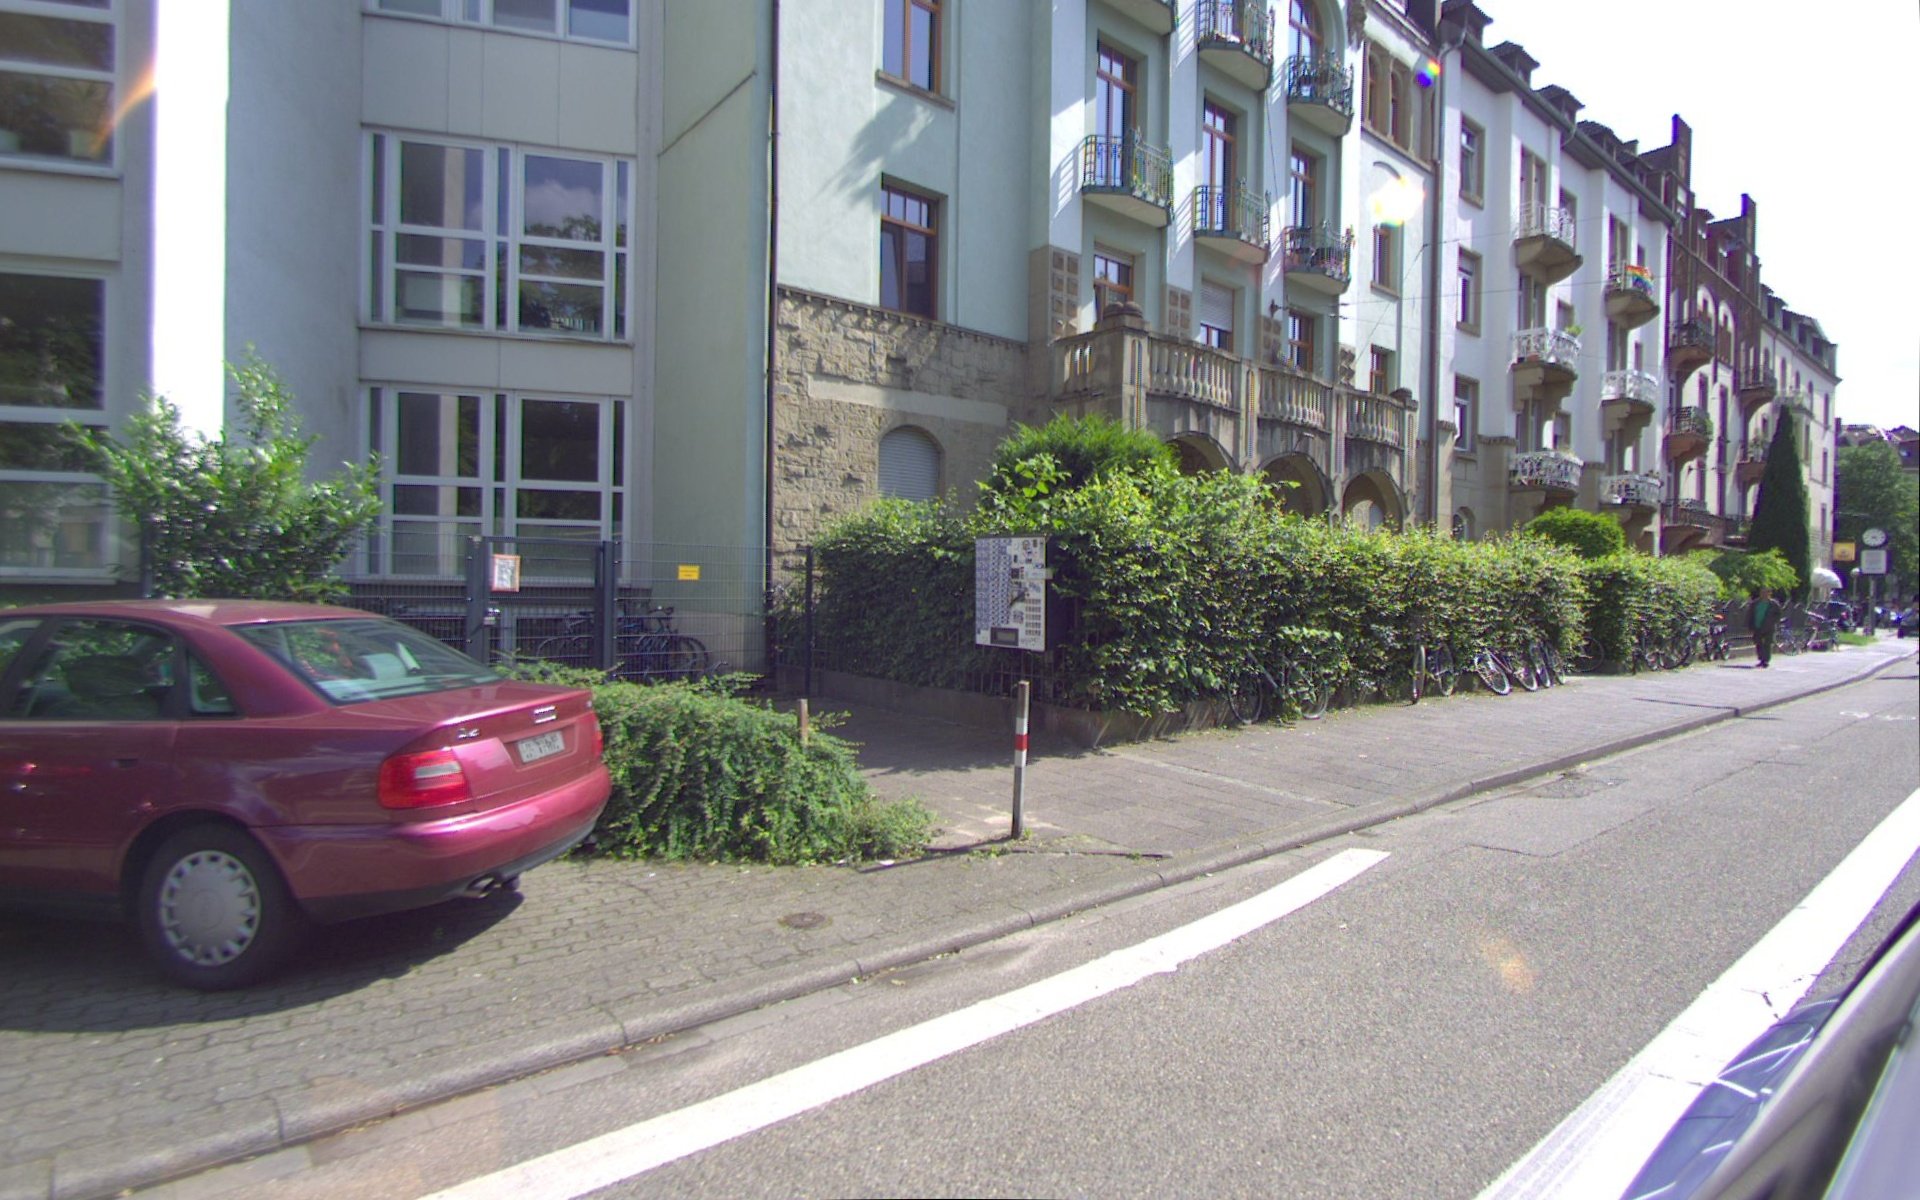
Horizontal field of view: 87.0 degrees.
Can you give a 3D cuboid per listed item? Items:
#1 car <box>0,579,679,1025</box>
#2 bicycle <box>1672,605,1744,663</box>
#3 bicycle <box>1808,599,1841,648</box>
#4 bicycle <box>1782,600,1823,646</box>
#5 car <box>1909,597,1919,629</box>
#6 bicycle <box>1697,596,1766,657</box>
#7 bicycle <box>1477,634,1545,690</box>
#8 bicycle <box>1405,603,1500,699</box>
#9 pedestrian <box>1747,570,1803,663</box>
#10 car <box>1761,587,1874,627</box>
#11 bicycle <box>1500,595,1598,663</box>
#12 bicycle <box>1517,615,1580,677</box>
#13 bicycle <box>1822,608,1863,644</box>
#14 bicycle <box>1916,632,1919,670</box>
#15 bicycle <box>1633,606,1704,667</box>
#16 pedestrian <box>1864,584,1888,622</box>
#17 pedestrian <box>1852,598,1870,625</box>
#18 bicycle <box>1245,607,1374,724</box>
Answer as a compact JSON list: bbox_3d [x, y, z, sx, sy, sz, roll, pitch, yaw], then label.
[{"bbox_3d":[-3.610,0.659,4.626,4.090,1.441,1.863,1,1,8],"label":"car"},{"bbox_3d":[14.854,0.647,20.064,2.321,1.008,0.612,-1,4,-41],"label":"bicycle"},{"bbox_3d":[23.754,0.621,27.793,1.813,1.276,0.451,0,3,-44],"label":"bicycle"},{"bbox_3d":[22.147,0.600,26.599,1.811,1.136,0.452,1,3,-40],"label":"bicycle"},{"bbox_3d":[47.323,0.647,49.173,2.747,1.517,1.516,0,3,-43],"label":"car"},{"bbox_3d":[17.216,0.557,22.555,2.472,1.246,0.741,-1,1,-41],"label":"bicycle"},{"bbox_3d":[7.776,0.862,14.265,1.532,0.685,0.280,-1,4,-41],"label":"bicycle"},{"bbox_3d":[6.361,0.623,13.031,1.975,1.122,0.280,-1,4,-41],"label":"bicycle"},{"bbox_3d":[17.197,0.332,21.364,0.788,1.884,0.571,4,3,43],"label":"pedestrian"},{"bbox_3d":[37.453,0.280,44.249,1.936,1.542,3.412,0,3,-38],"label":"car"},{"bbox_3d":[11.063,0.524,19.040,0.350,1.128,1.512,0,4,-41],"label":"bicycle"},{"bbox_3d":[9.240,0.710,15.856,1.639,0.918,0.274,2,3,-41],"label":"bicycle"},{"bbox_3d":[26.743,0.764,30.633,3.015,0.972,0.600,0,4,-44],"label":"bicycle"},{"bbox_3d":[20.351,0.889,20.906,1.804,1.057,0.617,-3,6,-41],"label":"bicycle"},{"bbox_3d":[13.023,0.642,18.580,1.839,1.001,0.613,-1,3,-41],"label":"bicycle"},{"bbox_3d":[47.238,0.159,52.180,0.659,1.862,0.860,10,7,41],"label":"pedestrian"},{"bbox_3d":[46.824,0.610,52.582,0.570,1.341,0.436,8,5,42],"label":"pedestrian"},{"bbox_3d":[3.752,0.655,10.763,1.975,1.122,0.280,-1,4,-41],"label":"bicycle"}]
